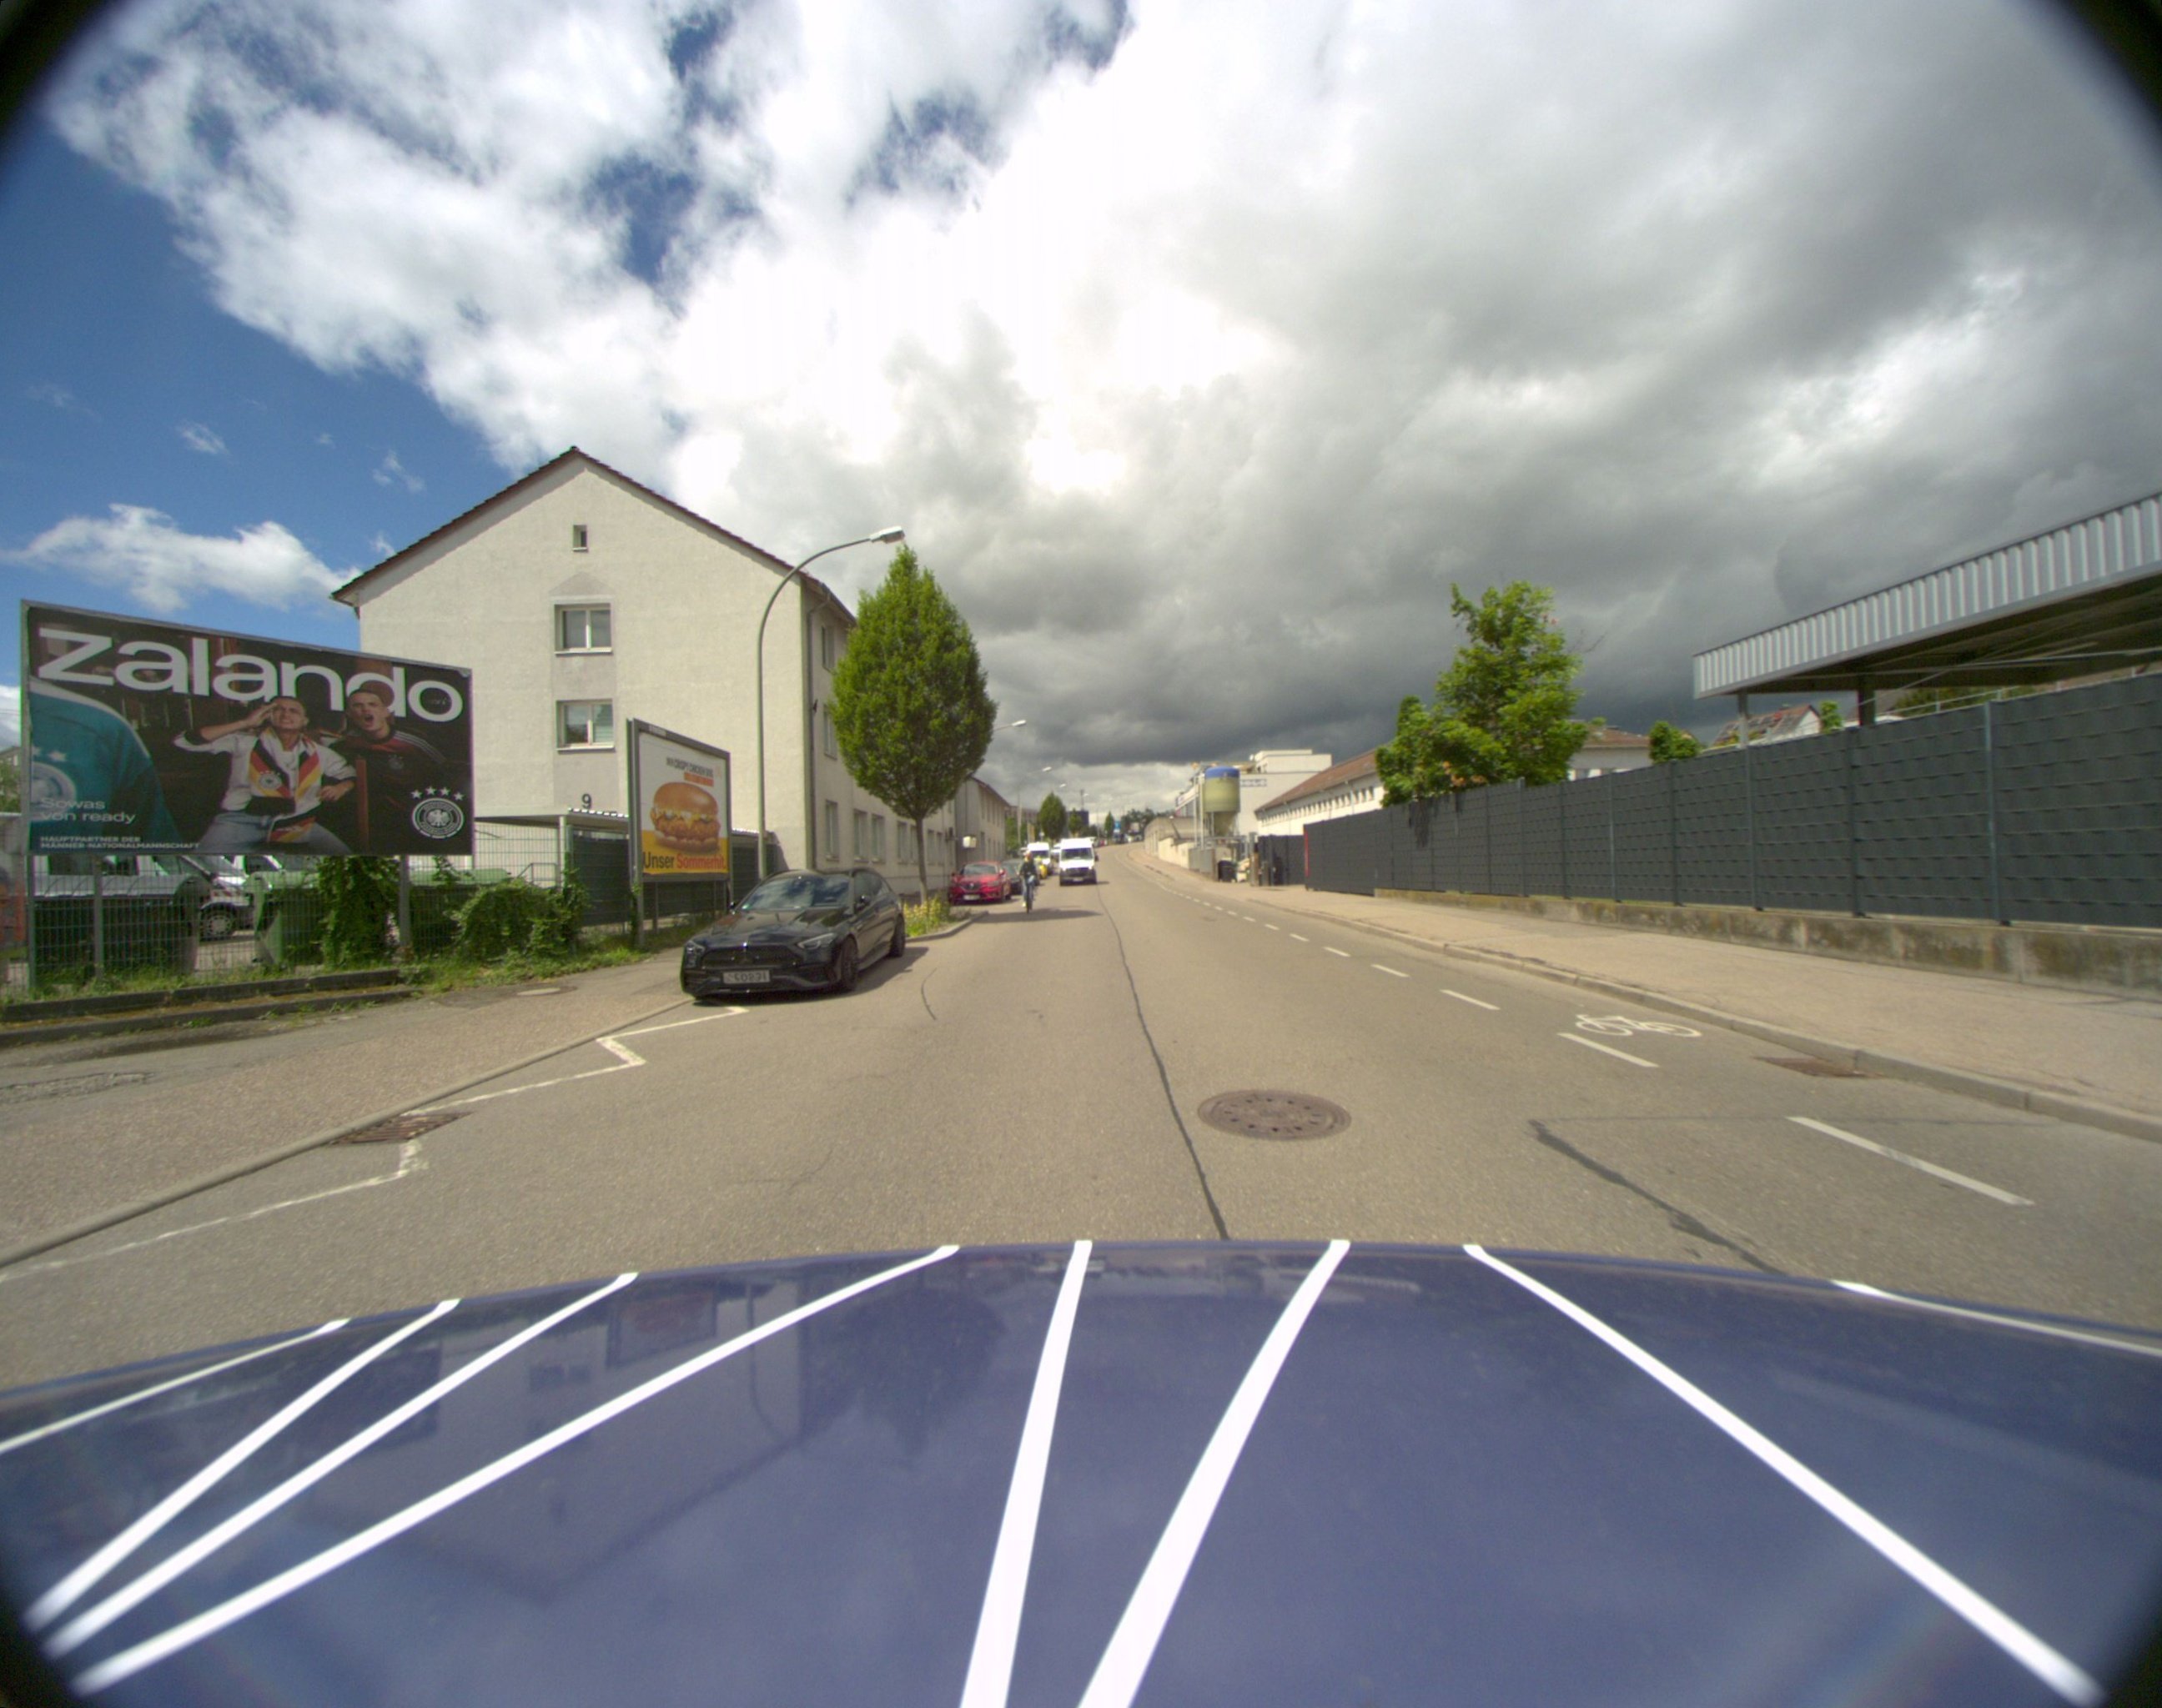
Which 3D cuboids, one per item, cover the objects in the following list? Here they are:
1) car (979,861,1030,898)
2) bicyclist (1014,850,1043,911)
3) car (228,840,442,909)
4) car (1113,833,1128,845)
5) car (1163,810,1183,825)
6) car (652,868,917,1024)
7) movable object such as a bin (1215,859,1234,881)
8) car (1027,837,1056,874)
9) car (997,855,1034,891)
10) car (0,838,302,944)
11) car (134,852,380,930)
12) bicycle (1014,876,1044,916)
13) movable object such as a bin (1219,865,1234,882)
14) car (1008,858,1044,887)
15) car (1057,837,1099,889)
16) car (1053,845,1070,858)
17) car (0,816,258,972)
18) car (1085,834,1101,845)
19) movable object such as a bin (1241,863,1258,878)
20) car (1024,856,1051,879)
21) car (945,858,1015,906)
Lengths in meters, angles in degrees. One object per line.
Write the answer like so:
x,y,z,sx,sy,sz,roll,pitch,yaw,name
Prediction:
-3.270,1.065,33.447,1.739,1.415,4.860,-3,0,-1,car
-1.443,0.714,21.052,0.741,1.617,0.731,-2,3,-2,bicyclist
-24.805,0.633,25.427,4.964,2.024,1.999,-2,2,-1,car
8.821,-3.441,170.138,2.057,2.580,5.739,-1,2,15,car
10.256,-4.102,85.273,1.810,1.628,4.103,-2,2,2,car
-3.637,1.017,10.394,1.796,1.457,4.707,-2,1,-1,car
9.290,1.044,49.153,0.993,1.385,1.216,1,0,2,movable object such as a bin
-3.130,0.061,61.369,2.038,2.627,7.279,-2,2,-1,car
-3.305,0.954,39.031,1.681,1.628,4.795,-4,0,-3,car
-24.967,0.916,19.975,6.180,2.438,2.273,-2,2,-4,car
-24.590,1.060,22.837,4.964,2.024,1.999,-2,2,-1,car
-1.425,1.149,21.200,0.742,0.969,1.732,-2,1,-2,bicycle
9.227,1.215,48.180,0.874,1.044,0.741,1,0,4,movable object such as a bin
-3.170,1.039,44.616,1.709,1.501,5.087,-4,0,-1,car
-0.067,0.390,42.892,2.082,2.576,6.061,-2,2,2,car
-2.477,-0.381,98.246,1.846,1.557,4.464,0,2,3,car
-20.261,0.691,14.836,2.282,2.753,5.453,-2,2,-1,car
2.255,-2.695,141.389,1.978,1.993,5.550,-1,2,12,car
11.094,1.097,50.089,0.736,0.996,0.857,-2,0,-16,movable object such as a bin
-3.106,0.947,54.731,1.596,1.439,3.790,-2,1,1,car
-3.429,0.915,26.503,1.739,1.464,4.261,-2,0,1,car
